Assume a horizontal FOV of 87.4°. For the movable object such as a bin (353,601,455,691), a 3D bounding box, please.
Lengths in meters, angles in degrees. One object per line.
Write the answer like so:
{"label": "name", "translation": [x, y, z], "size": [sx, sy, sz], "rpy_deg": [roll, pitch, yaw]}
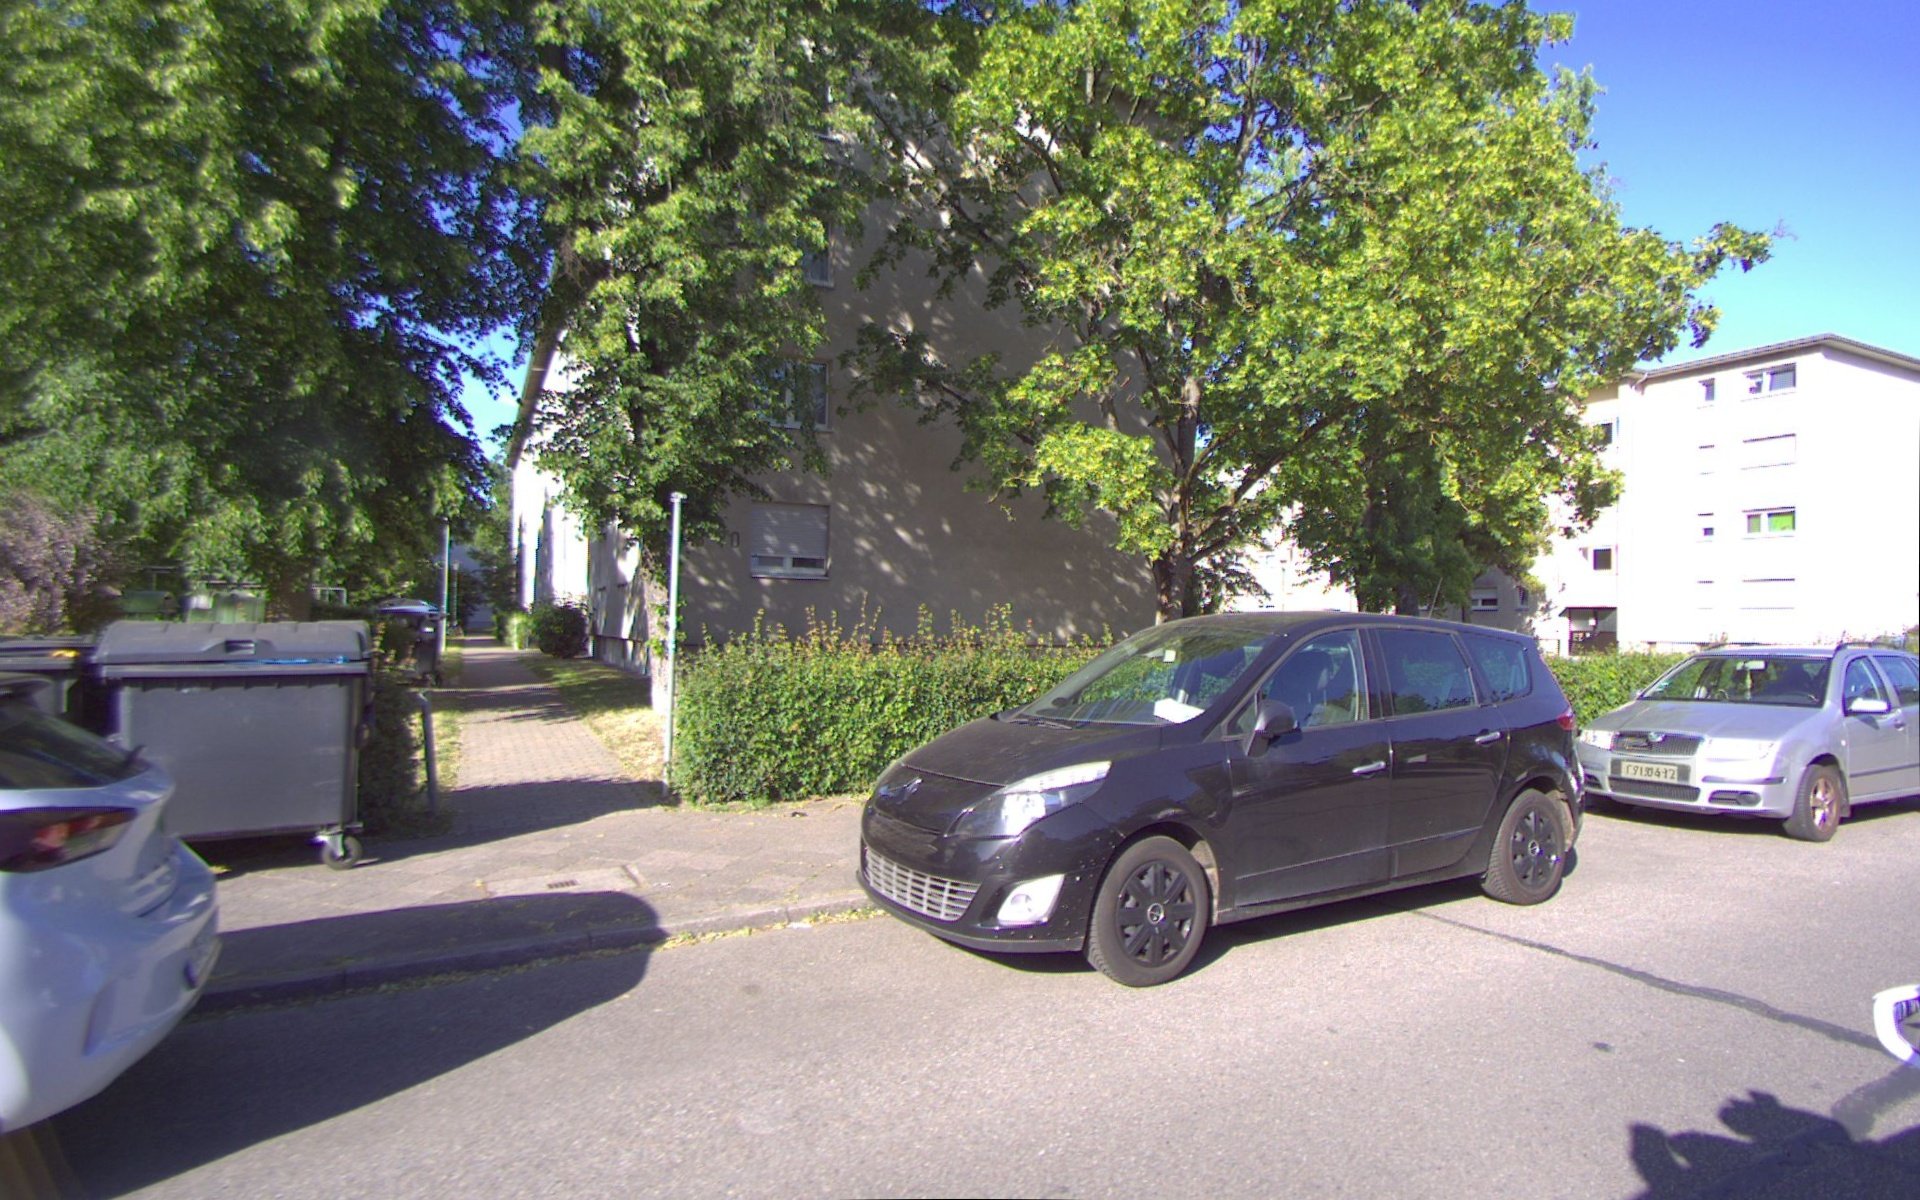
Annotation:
{"label": "movable object such as a bin", "translation": [-9.689, 0.786, 17.513], "size": [1.477, 1.472, 1.287], "rpy_deg": [1, -1, -30]}

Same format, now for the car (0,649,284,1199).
{"label": "car", "translation": [-3.999, 0.845, 2.342], "size": [3.855, 1.440, 1.663], "rpy_deg": [1, -2, -30]}

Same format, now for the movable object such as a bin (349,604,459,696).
{"label": "movable object such as a bin", "translation": [-9.035, 0.799, 16.349], "size": [1.477, 1.407, 1.287], "rpy_deg": [1, -1, -30]}

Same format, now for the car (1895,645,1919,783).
{"label": "car", "translation": [12.126, 1.219, 11.104], "size": [4.005, 1.445, 1.651], "rpy_deg": [2, -3, -33]}

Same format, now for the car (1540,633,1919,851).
{"label": "car", "translation": [7.022, 1.060, 8.668], "size": [4.003, 1.505, 1.654], "rpy_deg": [1, -3, -29]}

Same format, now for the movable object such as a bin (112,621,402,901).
{"label": "movable object such as a bin", "translation": [-4.085, 0.848, 5.960], "size": [1.300, 1.437, 0.982], "rpy_deg": [1, -1, -32]}

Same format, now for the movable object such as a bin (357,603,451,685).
{"label": "movable object such as a bin", "translation": [-10.462, 0.811, 18.934], "size": [1.477, 1.472, 1.287], "rpy_deg": [1, -1, -30]}

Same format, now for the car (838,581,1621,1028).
{"label": "car", "translation": [1.649, 0.851, 5.639], "size": [4.354, 1.688, 1.663], "rpy_deg": [1, -3, -30]}

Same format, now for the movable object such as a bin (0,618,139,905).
{"label": "movable object such as a bin", "translation": [-5.267, 0.816, 5.333], "size": [1.301, 1.437, 0.982], "rpy_deg": [1, -1, -34]}
